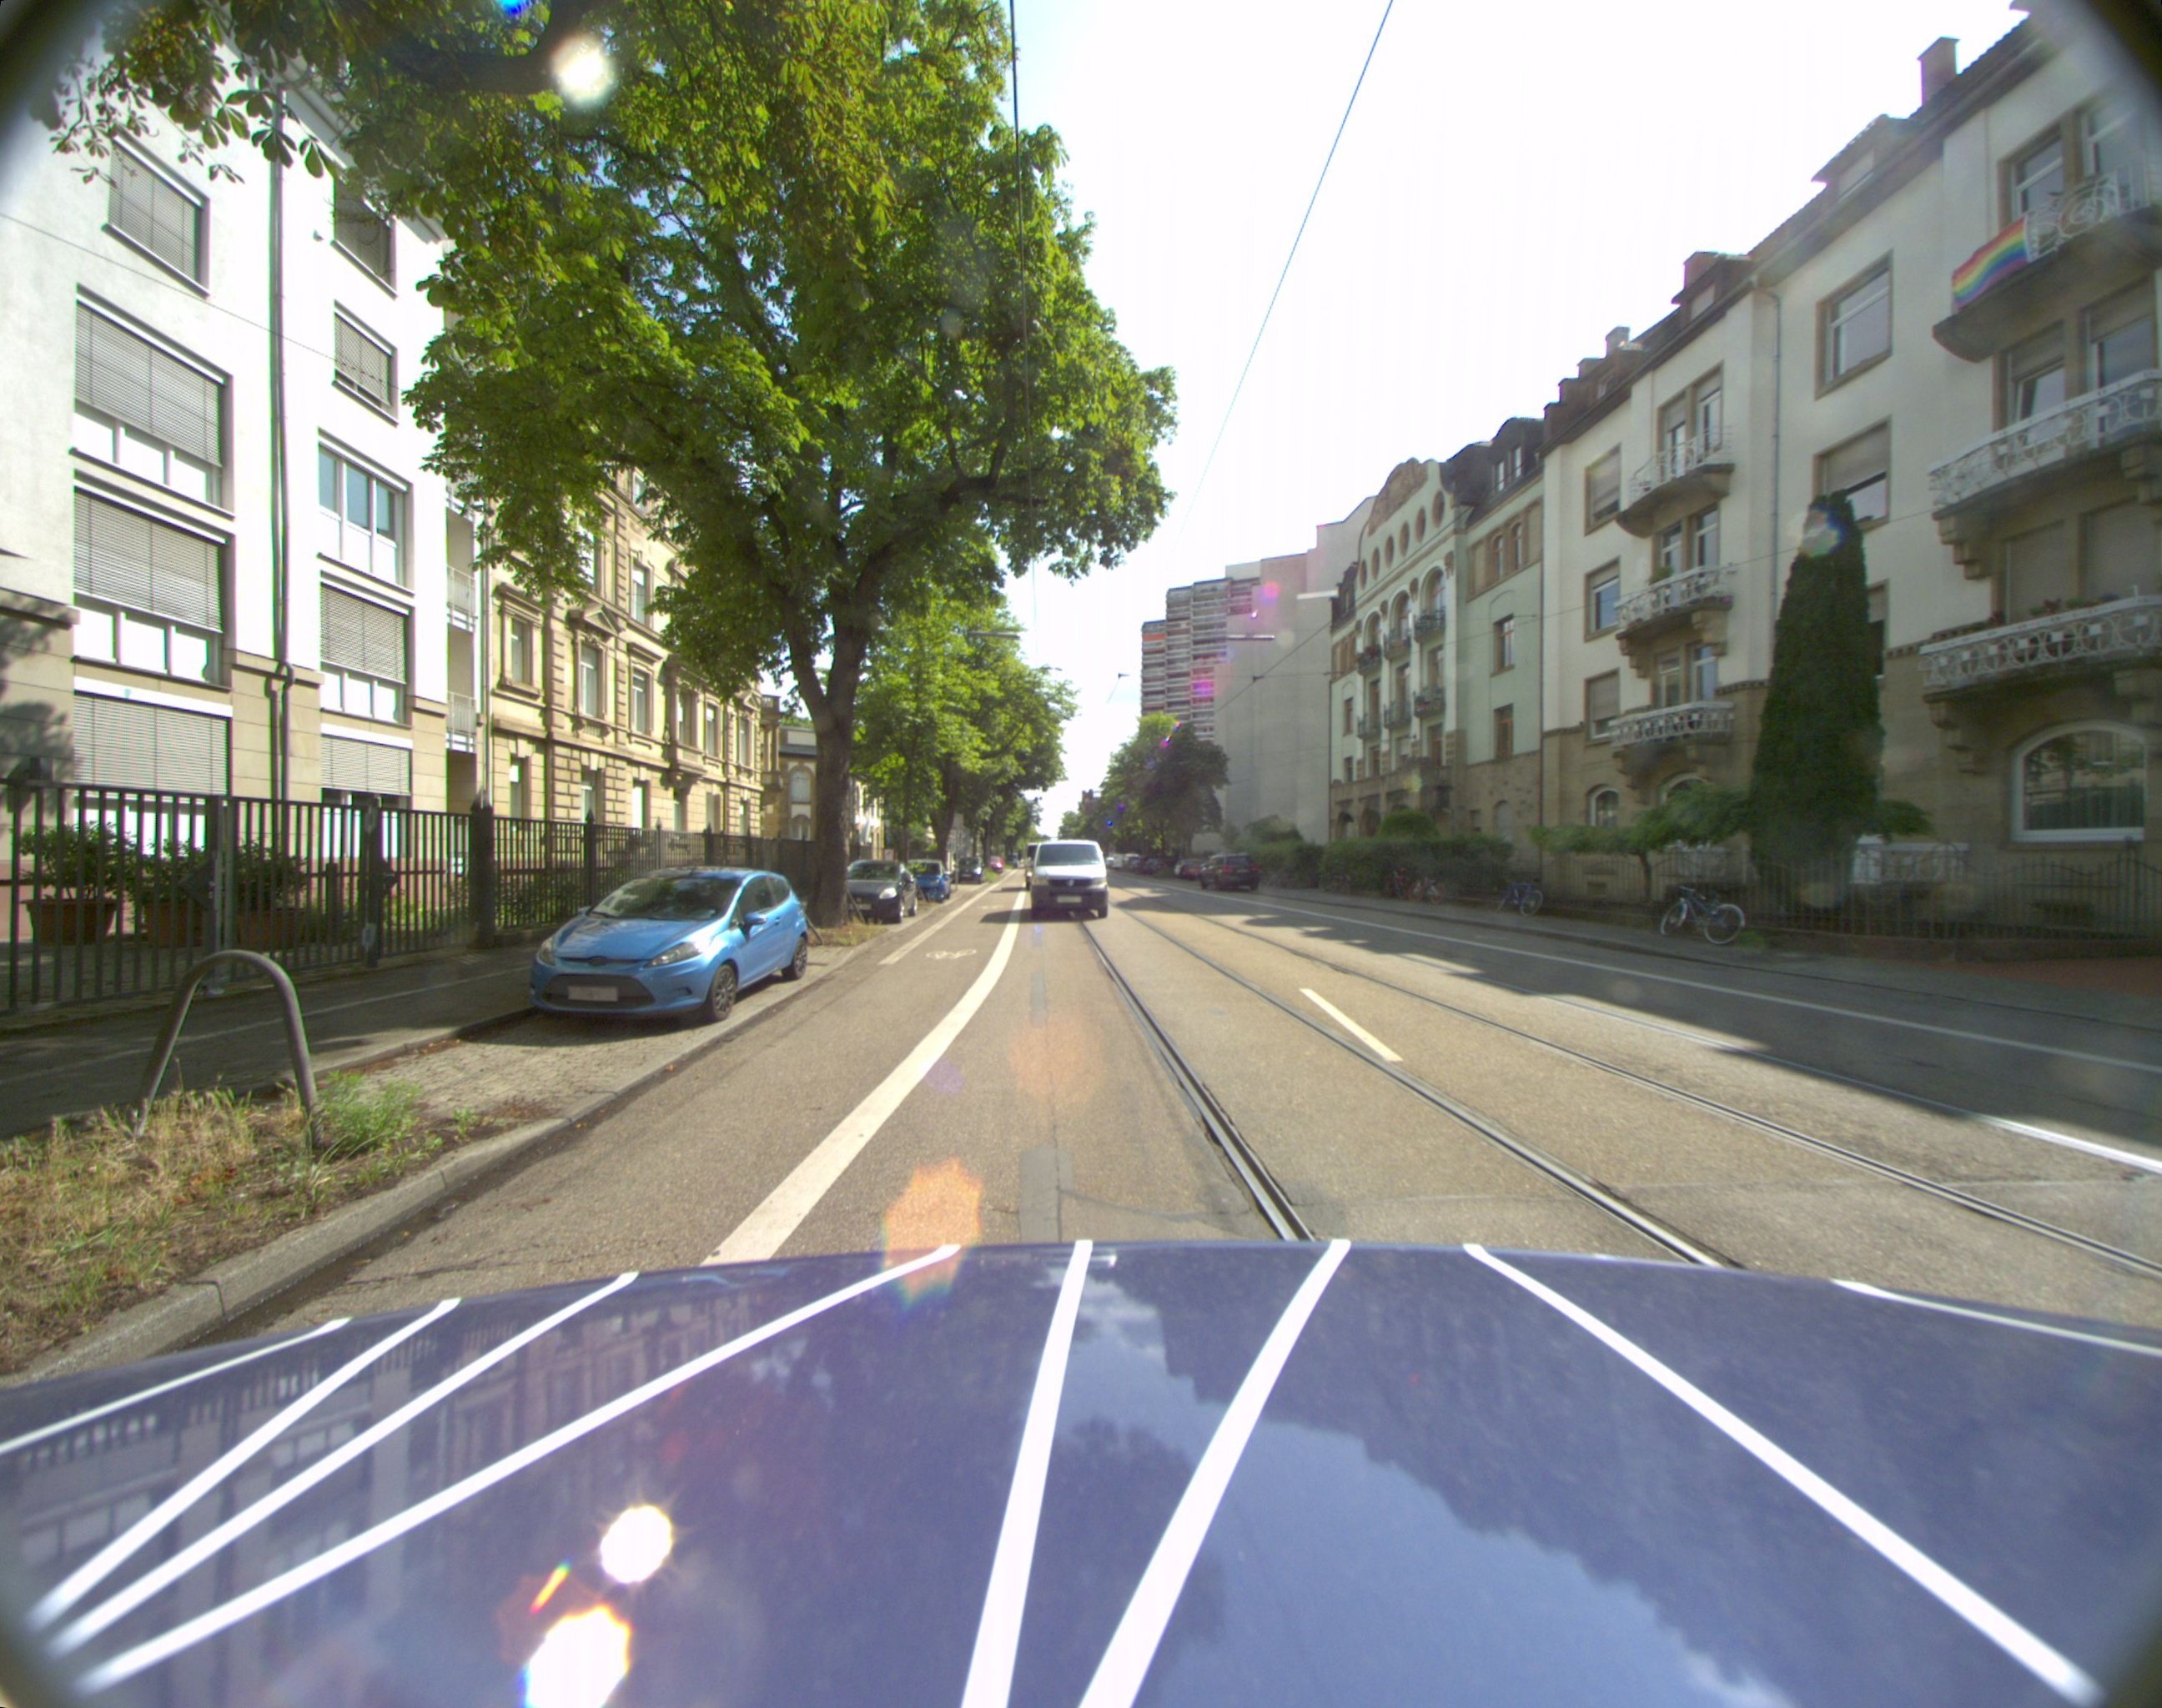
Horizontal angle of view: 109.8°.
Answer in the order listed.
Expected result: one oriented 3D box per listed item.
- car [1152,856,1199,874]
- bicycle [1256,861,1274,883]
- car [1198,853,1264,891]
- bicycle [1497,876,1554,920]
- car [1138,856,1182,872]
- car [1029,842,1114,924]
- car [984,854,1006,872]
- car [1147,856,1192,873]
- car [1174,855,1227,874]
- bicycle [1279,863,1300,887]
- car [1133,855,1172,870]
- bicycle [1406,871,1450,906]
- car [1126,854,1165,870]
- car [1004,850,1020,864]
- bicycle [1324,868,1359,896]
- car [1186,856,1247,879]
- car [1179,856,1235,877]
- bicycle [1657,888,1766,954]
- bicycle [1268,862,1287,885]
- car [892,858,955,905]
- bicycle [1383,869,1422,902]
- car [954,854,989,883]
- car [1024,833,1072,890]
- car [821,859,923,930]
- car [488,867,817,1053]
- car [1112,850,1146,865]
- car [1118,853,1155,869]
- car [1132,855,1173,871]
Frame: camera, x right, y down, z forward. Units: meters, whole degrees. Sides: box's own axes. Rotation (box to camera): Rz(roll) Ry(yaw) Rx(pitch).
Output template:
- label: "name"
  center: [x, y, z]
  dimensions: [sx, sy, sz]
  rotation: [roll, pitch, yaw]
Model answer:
- label: "car"
  center: [8.095, 0.889, 65.118]
  dimensions: [3.994, 1.499, 2.001]
  rotation: [0, 0, 7]
- label: "bicycle"
  center: [9.734, 0.919, 40.239]
  dimensions: [0.468, 1.128, 1.786]
  rotation: [0, 0, -1]
- label: "car"
  center: [7.042, 0.812, 36.043]
  dimensions: [1.922, 1.685, 4.399]
  rotation: [0, 0, -5]
- label: "bicycle"
  center: [10.854, 1.052, 18.628]
  dimensions: [0.467, 0.990, 1.787]
  rotation: [0, 0, 4]
- label: "car"
  center: [7.457, 0.927, 71.389]
  dimensions: [3.994, 1.499, 2.001]
  rotation: [0, 0, 7]
- label: "car"
  center: [-0.329, 0.657, 20.058]
  dimensions: [1.974, 1.901, 4.816]
  rotation: [0, 0, -2]
- label: "car"
  center: [-7.719, 0.785, 68.194]
  dimensions: [1.744, 1.564, 3.928]
  rotation: [3, 0, -4]
- label: "car"
  center: [7.977, 0.896, 68.273]
  dimensions: [3.994, 1.499, 2.001]
  rotation: [0, 0, 7]
- label: "car"
  center: [9.278, 0.801, 59.078]
  dimensions: [3.994, 1.499, 2.001]
  rotation: [0, 0, 7]
- label: "bicycle"
  center: [9.943, 0.991, 36.202]
  dimensions: [0.468, 1.128, 1.786]
  rotation: [0, 0, -1]
- label: "car"
  center: [7.338, 0.889, 77.757]
  dimensions: [3.994, 1.499, 2.001]
  rotation: [0, 0, 7]
- label: "bicycle"
  center: [10.533, 1.033, 23.110]
  dimensions: [0.468, 0.990, 1.786]
  rotation: [0, 0, -1]
- label: "car"
  center: [6.898, 0.801, 81.228]
  dimensions: [3.994, 1.672, 2.001]
  rotation: [0, 0, 7]
- label: "car"
  center: [-8.430, 0.358, 93.052]
  dimensions: [1.744, 1.564, 3.928]
  rotation: [3, 0, -4]
- label: "bicycle"
  center: [9.943, 1.049, 29.092]
  dimensions: [0.605, 0.990, 1.980]
  rotation: [0, 0, -1]
- label: "car"
  center: [9.225, 0.886, 52.021]
  dimensions: [3.994, 1.499, 2.001]
  rotation: [0, 0, 7]
- label: "car"
  center: [9.166, 0.889, 55.529]
  dimensions: [3.994, 1.499, 2.001]
  rotation: [0, 0, 7]
- label: "bicycle"
  center: [11.036, 1.134, 13.385]
  dimensions: [0.467, 0.990, 1.979]
  rotation: [0, 0, 6]
- label: "bicycle"
  center: [9.848, 0.967, 38.143]
  dimensions: [0.468, 1.128, 1.786]
  rotation: [0, 0, -1]
- label: "car"
  center: [-5.473, 0.912, 26.816]
  dimensions: [1.679, 1.467, 3.659]
  rotation: [3, 0, -5]
- label: "bicycle"
  center: [10.559, 1.024, 25.009]
  dimensions: [0.468, 0.990, 1.786]
  rotation: [0, 0, -1]
- label: "car"
  center: [-6.504, 0.852, 45.437]
  dimensions: [1.744, 1.564, 3.659]
  rotation: [3, 0, -4]
- label: "car"
  center: [-1.578, 0.320, 36.372]
  dimensions: [2.147, 2.568, 4.816]
  rotation: [0, 0, -2]
- label: "car"
  center: [-5.013, 0.908, 18.656]
  dimensions: [1.679, 1.467, 3.659]
  rotation: [3, 0, -5]
- label: "car"
  center: [-4.314, 0.952, 8.364]
  dimensions: [1.647, 1.467, 3.660]
  rotation: [3, 0, -3]
- label: "car"
  center: [5.829, 0.423, 91.480]
  dimensions: [1.994, 1.740, 4.008]
  rotation: [-1, 1, 40]
- label: "car"
  center: [6.286, 0.773, 85.649]
  dimensions: [3.994, 1.672, 2.001]
  rotation: [0, 0, 7]
- label: "car"
  center: [7.031, 0.895, 74.595]
  dimensions: [3.994, 1.499, 2.001]
  rotation: [0, 0, 7]
